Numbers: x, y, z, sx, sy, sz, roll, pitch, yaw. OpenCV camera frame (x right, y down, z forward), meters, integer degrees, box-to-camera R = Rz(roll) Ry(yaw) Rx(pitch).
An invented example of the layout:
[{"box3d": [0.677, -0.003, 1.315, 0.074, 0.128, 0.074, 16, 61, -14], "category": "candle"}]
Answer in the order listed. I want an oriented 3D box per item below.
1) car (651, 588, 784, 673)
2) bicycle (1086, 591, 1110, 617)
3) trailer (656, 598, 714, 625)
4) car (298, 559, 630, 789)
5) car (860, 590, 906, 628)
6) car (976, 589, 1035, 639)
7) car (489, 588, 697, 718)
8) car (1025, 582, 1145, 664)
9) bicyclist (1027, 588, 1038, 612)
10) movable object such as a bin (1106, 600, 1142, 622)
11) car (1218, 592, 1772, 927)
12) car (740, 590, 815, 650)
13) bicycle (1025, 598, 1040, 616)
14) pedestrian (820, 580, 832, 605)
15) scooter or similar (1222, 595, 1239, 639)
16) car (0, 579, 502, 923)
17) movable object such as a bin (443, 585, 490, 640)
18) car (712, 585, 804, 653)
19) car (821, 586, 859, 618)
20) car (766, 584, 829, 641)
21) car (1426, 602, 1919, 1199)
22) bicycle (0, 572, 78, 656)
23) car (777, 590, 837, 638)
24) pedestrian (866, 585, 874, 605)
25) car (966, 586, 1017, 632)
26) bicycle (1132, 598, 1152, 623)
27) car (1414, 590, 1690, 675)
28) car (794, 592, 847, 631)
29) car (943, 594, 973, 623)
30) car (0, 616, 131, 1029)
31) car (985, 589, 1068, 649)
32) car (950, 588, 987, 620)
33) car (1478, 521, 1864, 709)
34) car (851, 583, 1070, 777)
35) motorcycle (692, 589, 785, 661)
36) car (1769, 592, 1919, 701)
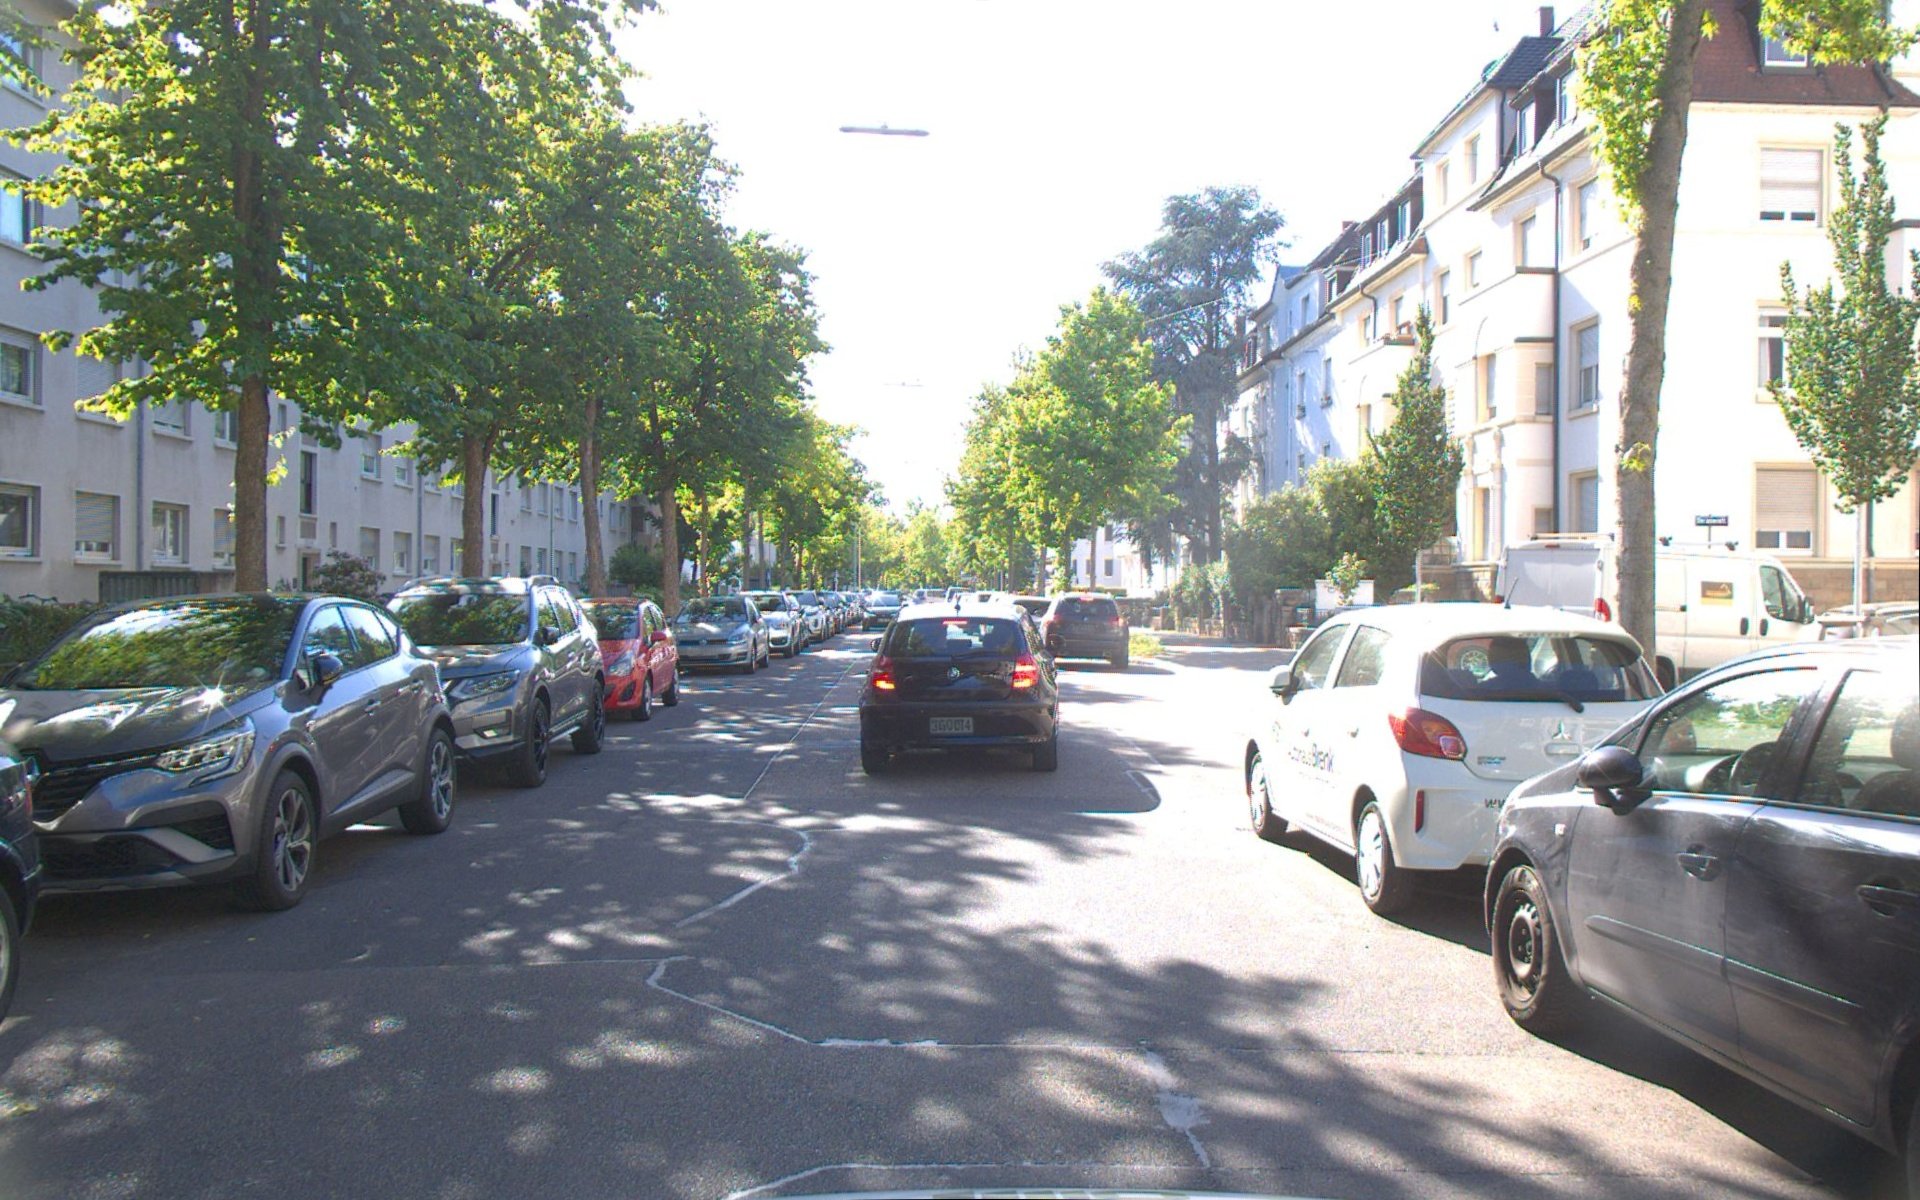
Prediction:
[{"box3d": [-4.696, 0.546, 32.641, 2.001, 1.551, 4.605, 0, 0, -1], "category": "car"}, {"box3d": [6.897, 0.192, 82.949, 0.822, 1.279, 2.229, 1, 0, -5], "category": "bicycle"}, {"box3d": [-11.047, 0.456, 66.610, 1.752, 1.052, 3.281, 0, 0, 0], "category": "trailer"}, {"box3d": [-4.228, 0.539, 14.920, 1.732, 1.717, 4.812, -1, 0, -3], "category": "car"}, {"box3d": [-3.164, 0.365, 68.020, 1.773, 1.471, 4.364, -1, 0, -3], "category": "car"}, {"box3d": [1.512, 0.445, 55.966, 1.621, 1.559, 3.967, 3, 0, -3], "category": "car"}, {"box3d": [-4.562, 0.597, 21.170, 1.819, 1.495, 4.181, 0, 0, -1], "category": "car"}, {"box3d": [2.513, 0.459, 34.346, 1.858, 1.551, 4.964, 1, -1, -3], "category": "car"}, {"box3d": [4.880, 0.004, 111.305, 0.663, 1.580, 1.021, 0, 0, -5], "category": "bicyclist"}, {"box3d": [6.992, 0.470, 70.580, 1.196, 0.920, 1.665, 0, 0, 19], "category": "movable object such as a bin"}, {"box3d": [2.769, 0.728, 9.566, 1.698, 1.513, 4.007, 1, 0, -3], "category": "car"}, {"box3d": [-4.974, 0.505, 45.648, 1.693, 1.472, 4.818, -2, 1, -2], "category": "car"}, {"box3d": [4.874, 0.465, 111.324, 0.670, 1.173, 2.401, 0, 0, -5], "category": "bicycle"}, {"box3d": [-11.067, -0.606, 136.753, 0.841, 2.049, 0.982, 0, 0, 6], "category": "pedestrian"}, {"box3d": [7.619, 0.461, 46.573, 0.393, 1.205, 1.207, 0, 1, 13], "category": "scooter or similar"}, {"box3d": [-4.132, 0.667, 9.686, 1.733, 1.558, 4.419, 0, 0, -1], "category": "car"}, {"box3d": [-12.481, 0.311, 41.904, 0.912, 1.347, 1.377, 0, 0, -7], "category": "movable object such as a bin"}, {"box3d": [-4.876, 0.415, 40.465, 2.023, 1.551, 4.717, 0, 0, -5], "category": "car"}, {"box3d": [-6.130, 0.090, 85.036, 1.775, 1.624, 4.231, -1, 0, -2], "category": "car"}, {"box3d": [-5.085, 0.365, 52.211, 1.694, 1.646, 4.364, -3, 0, -3], "category": "car"}, {"box3d": [2.935, 0.792, 5.000, 1.637, 1.476, 4.176, 2, 0, -3], "category": "car"}, {"box3d": [-15.016, 0.212, 26.887, 0.390, 1.311, 1.913, 0, 0, -2], "category": "bicycle"}, {"box3d": [-5.275, 0.460, 57.547, 1.693, 1.503, 4.618, -3, 0, -1], "category": "car"}, {"box3d": [-8.989, -0.487, 165.102, 0.702, 1.933, 0.834, 0, 0, -12], "category": "pedestrian"}, {"box3d": [1.210, 0.337, 65.539, 1.886, 1.680, 5.095, 2, 0, 0], "category": "car"}, {"box3d": [7.378, 0.426, 67.084, 0.569, 0.992, 1.903, -1, 0, 0], "category": "bicycle"}, {"box3d": [10.861, 0.572, 30.682, 4.617, 1.495, 1.955, 0, 0, 13], "category": "car"}, {"box3d": [-5.407, 0.430, 64.431, 1.743, 1.403, 4.261, -2, 0, -1], "category": "car"}, {"box3d": [-0.169, 0.577, 115.591, 1.931, 1.983, 4.983, 0, 0, -2], "category": "car"}, {"box3d": [-4.044, 0.775, 4.258, 1.749, 1.376, 4.479, -1, 0, -3], "category": "car"}, {"box3d": [1.767, 0.485, 45.255, 1.785, 1.495, 4.906, 2, 0, -3], "category": "car"}, {"box3d": [0.449, 0.207, 95.241, 1.869, 1.728, 4.312, 3, 0, -2], "category": "car"}, {"box3d": [9.825, 0.170, 22.827, 4.977, 2.346, 2.217, 0, 0, -26], "category": "car"}, {"box3d": [0.083, 0.630, 15.295, 1.745, 1.550, 4.001, -1, 0, 2], "category": "car"}, {"box3d": [-4.908, 0.543, 36.485, 0.981, 1.530, 2.200, -1, 0, -41], "category": "motorcycle"}, {"box3d": [14.767, 0.645, 24.279, 4.830, 1.495, 2.046, 0, 1, -4], "category": "car"}]
